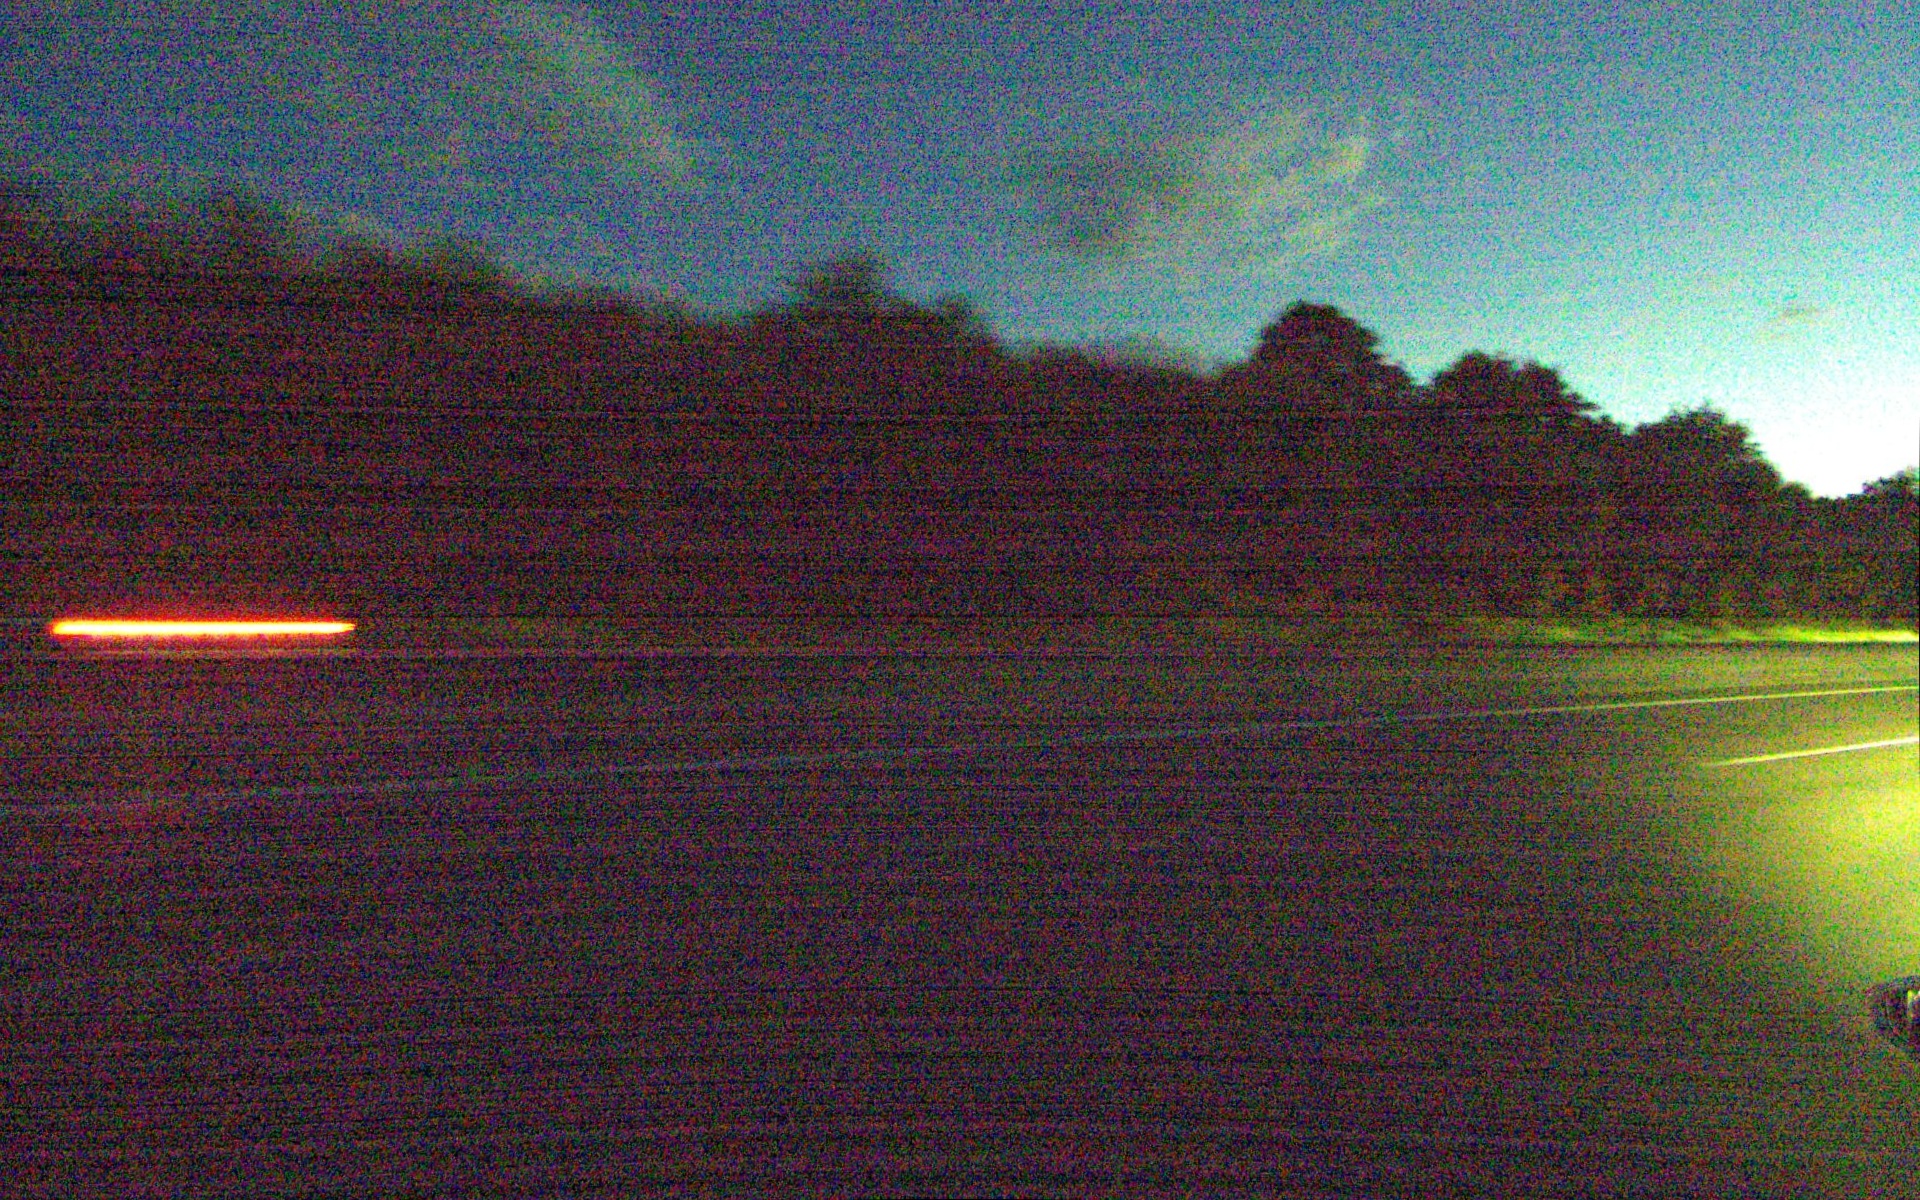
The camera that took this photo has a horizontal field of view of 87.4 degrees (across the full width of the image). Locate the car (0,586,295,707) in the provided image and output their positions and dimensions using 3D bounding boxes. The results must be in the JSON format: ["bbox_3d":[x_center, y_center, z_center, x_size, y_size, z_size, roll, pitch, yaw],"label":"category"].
[{"bbox_3d":[-12.019,0.592,13.617,4.875,1.500,1.983,2,-1,-32],"label":"car"}]
